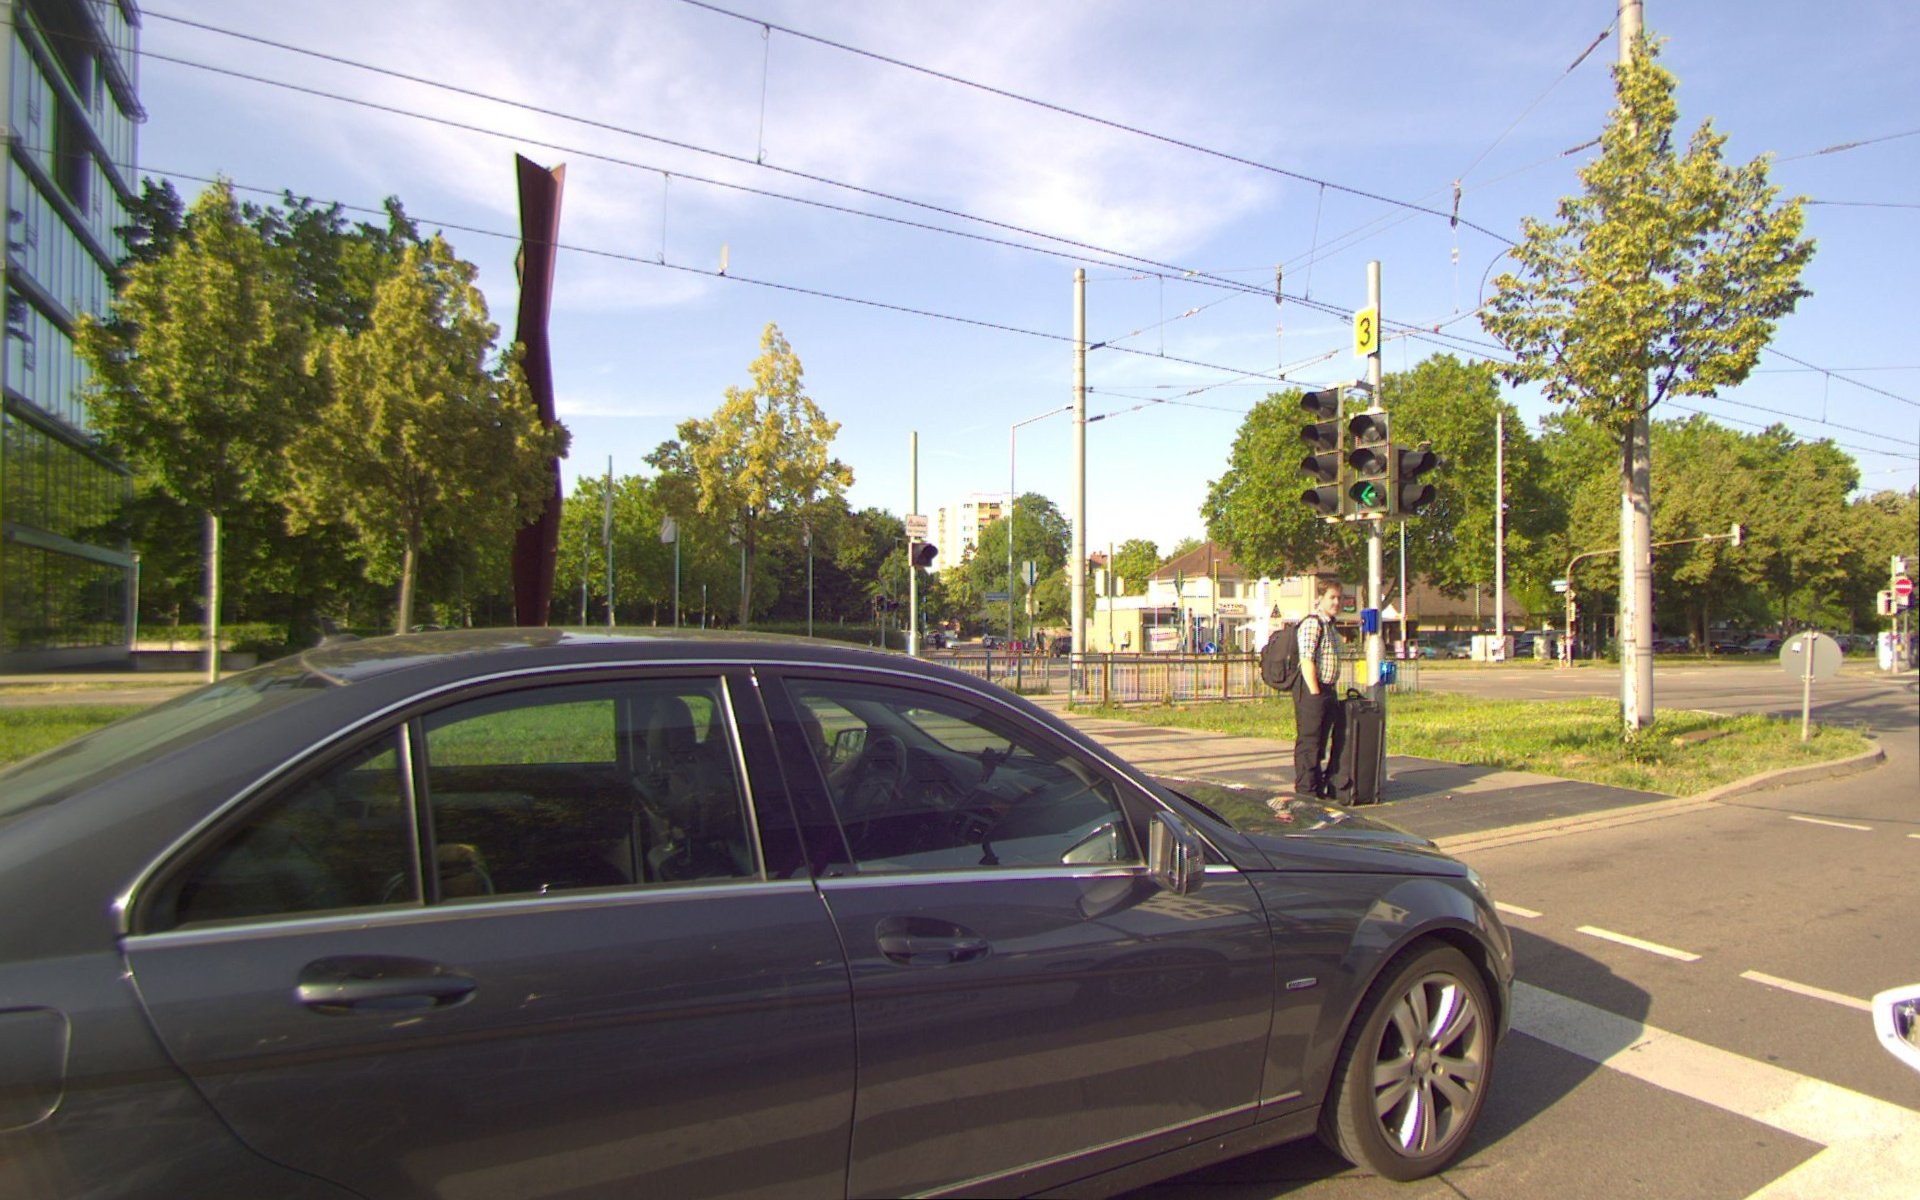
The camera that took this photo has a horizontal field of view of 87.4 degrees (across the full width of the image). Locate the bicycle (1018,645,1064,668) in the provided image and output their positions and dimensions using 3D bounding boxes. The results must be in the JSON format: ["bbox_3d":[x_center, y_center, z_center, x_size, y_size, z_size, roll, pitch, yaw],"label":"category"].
[{"bbox_3d":[3.849,2.677,47.734,2.168,1.055,0.697,-1,-2,38],"label":"bicycle"}]

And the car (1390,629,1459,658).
[{"bbox_3d":[29.211,2.712,63.139,3.945,1.773,1.876,1,-2,-25],"label":"car"}]

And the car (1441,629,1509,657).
[{"bbox_3d":[33.435,2.764,65.214,3.945,1.773,1.876,1,-2,-25],"label":"car"}]

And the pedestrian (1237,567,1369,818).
[{"bbox_3d":[2.624,0.672,7.712,0.628,1.816,0.696,1,0,-29],"label":"pedestrian"}]

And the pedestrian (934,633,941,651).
[{"bbox_3d":[-2.015,3.820,91.055,0.654,1.654,0.664,0,-1,-2],"label":"pedestrian"}]

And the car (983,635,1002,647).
[{"bbox_3d":[3.961,5.049,123.450,1.667,1.491,3.941,0,-2,-8],"label":"car"}]

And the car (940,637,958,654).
[{"bbox_3d":[-1.297,5.117,113.639,1.961,1.806,4.000,0,-2,-1],"label":"car"}]

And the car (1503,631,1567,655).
[{"bbox_3d":[38.822,2.927,67.828,3.945,1.580,1.876,1,-2,-25],"label":"car"}]

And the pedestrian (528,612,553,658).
[{"bbox_3d":[-19.725,1.671,47.244,0.864,2.135,0.724,-1,-3,-1],"label":"pedestrian"}]

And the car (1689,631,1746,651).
[{"bbox_3d":[58.621,3.171,77.733,3.945,1.580,1.876,1,-2,-25],"label":"car"}]

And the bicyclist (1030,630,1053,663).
[{"bbox_3d":[3.863,2.195,47.738,0.836,1.512,0.697,-1,-2,38],"label":"bicyclist"}]

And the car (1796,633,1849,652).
[{"bbox_3d":[72.119,3.554,83.987,3.945,1.580,1.876,1,-2,-25],"label":"car"}]

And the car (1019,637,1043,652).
[{"bbox_3d":[7.054,4.441,100.320,1.667,1.491,3.941,0,-2,-8],"label":"car"}]

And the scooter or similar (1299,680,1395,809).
[{"bbox_3d":[3.069,1.124,7.980,0.424,0.919,0.545,1,2,-29],"label":"scooter or similar"}]

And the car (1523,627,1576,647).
[{"bbox_3d":[47.874,3.040,81.580,3.945,1.580,1.876,1,-2,-25],"label":"car"}]

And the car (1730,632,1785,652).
[{"bbox_3d":[63.606,3.319,80.090,3.945,1.580,1.876,1,-2,-25],"label":"car"}]

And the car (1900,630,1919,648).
[{"bbox_3d":[87.803,3.580,91.474,3.945,1.580,1.876,1,-2,-25],"label":"car"}]

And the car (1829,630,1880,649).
[{"bbox_3d":[76.690,3.352,86.096,3.945,1.580,1.876,1,-2,-25],"label":"car"}]

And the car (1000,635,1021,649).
[{"bbox_3d":[5.581,4.688,111.832,1.667,1.491,3.941,0,-2,-8],"label":"car"}]

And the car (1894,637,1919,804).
[{"bbox_3d":[9.975,0.993,8.860,4.357,1.347,1.752,1,-2,-36],"label":"car"}]

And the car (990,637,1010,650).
[{"bbox_3d":[4.668,5.092,117.661,1.667,1.491,3.941,0,-2,-8],"label":"car"}]

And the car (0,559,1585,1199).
[{"bbox_3d":[-0.545,0.703,2.589,4.299,1.498,1.779,1,0,-29],"label":"car"}]

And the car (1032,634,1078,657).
[{"bbox_3d":[7.454,3.549,79.247,1.971,1.750,3.979,1,-2,-22],"label":"car"}]
